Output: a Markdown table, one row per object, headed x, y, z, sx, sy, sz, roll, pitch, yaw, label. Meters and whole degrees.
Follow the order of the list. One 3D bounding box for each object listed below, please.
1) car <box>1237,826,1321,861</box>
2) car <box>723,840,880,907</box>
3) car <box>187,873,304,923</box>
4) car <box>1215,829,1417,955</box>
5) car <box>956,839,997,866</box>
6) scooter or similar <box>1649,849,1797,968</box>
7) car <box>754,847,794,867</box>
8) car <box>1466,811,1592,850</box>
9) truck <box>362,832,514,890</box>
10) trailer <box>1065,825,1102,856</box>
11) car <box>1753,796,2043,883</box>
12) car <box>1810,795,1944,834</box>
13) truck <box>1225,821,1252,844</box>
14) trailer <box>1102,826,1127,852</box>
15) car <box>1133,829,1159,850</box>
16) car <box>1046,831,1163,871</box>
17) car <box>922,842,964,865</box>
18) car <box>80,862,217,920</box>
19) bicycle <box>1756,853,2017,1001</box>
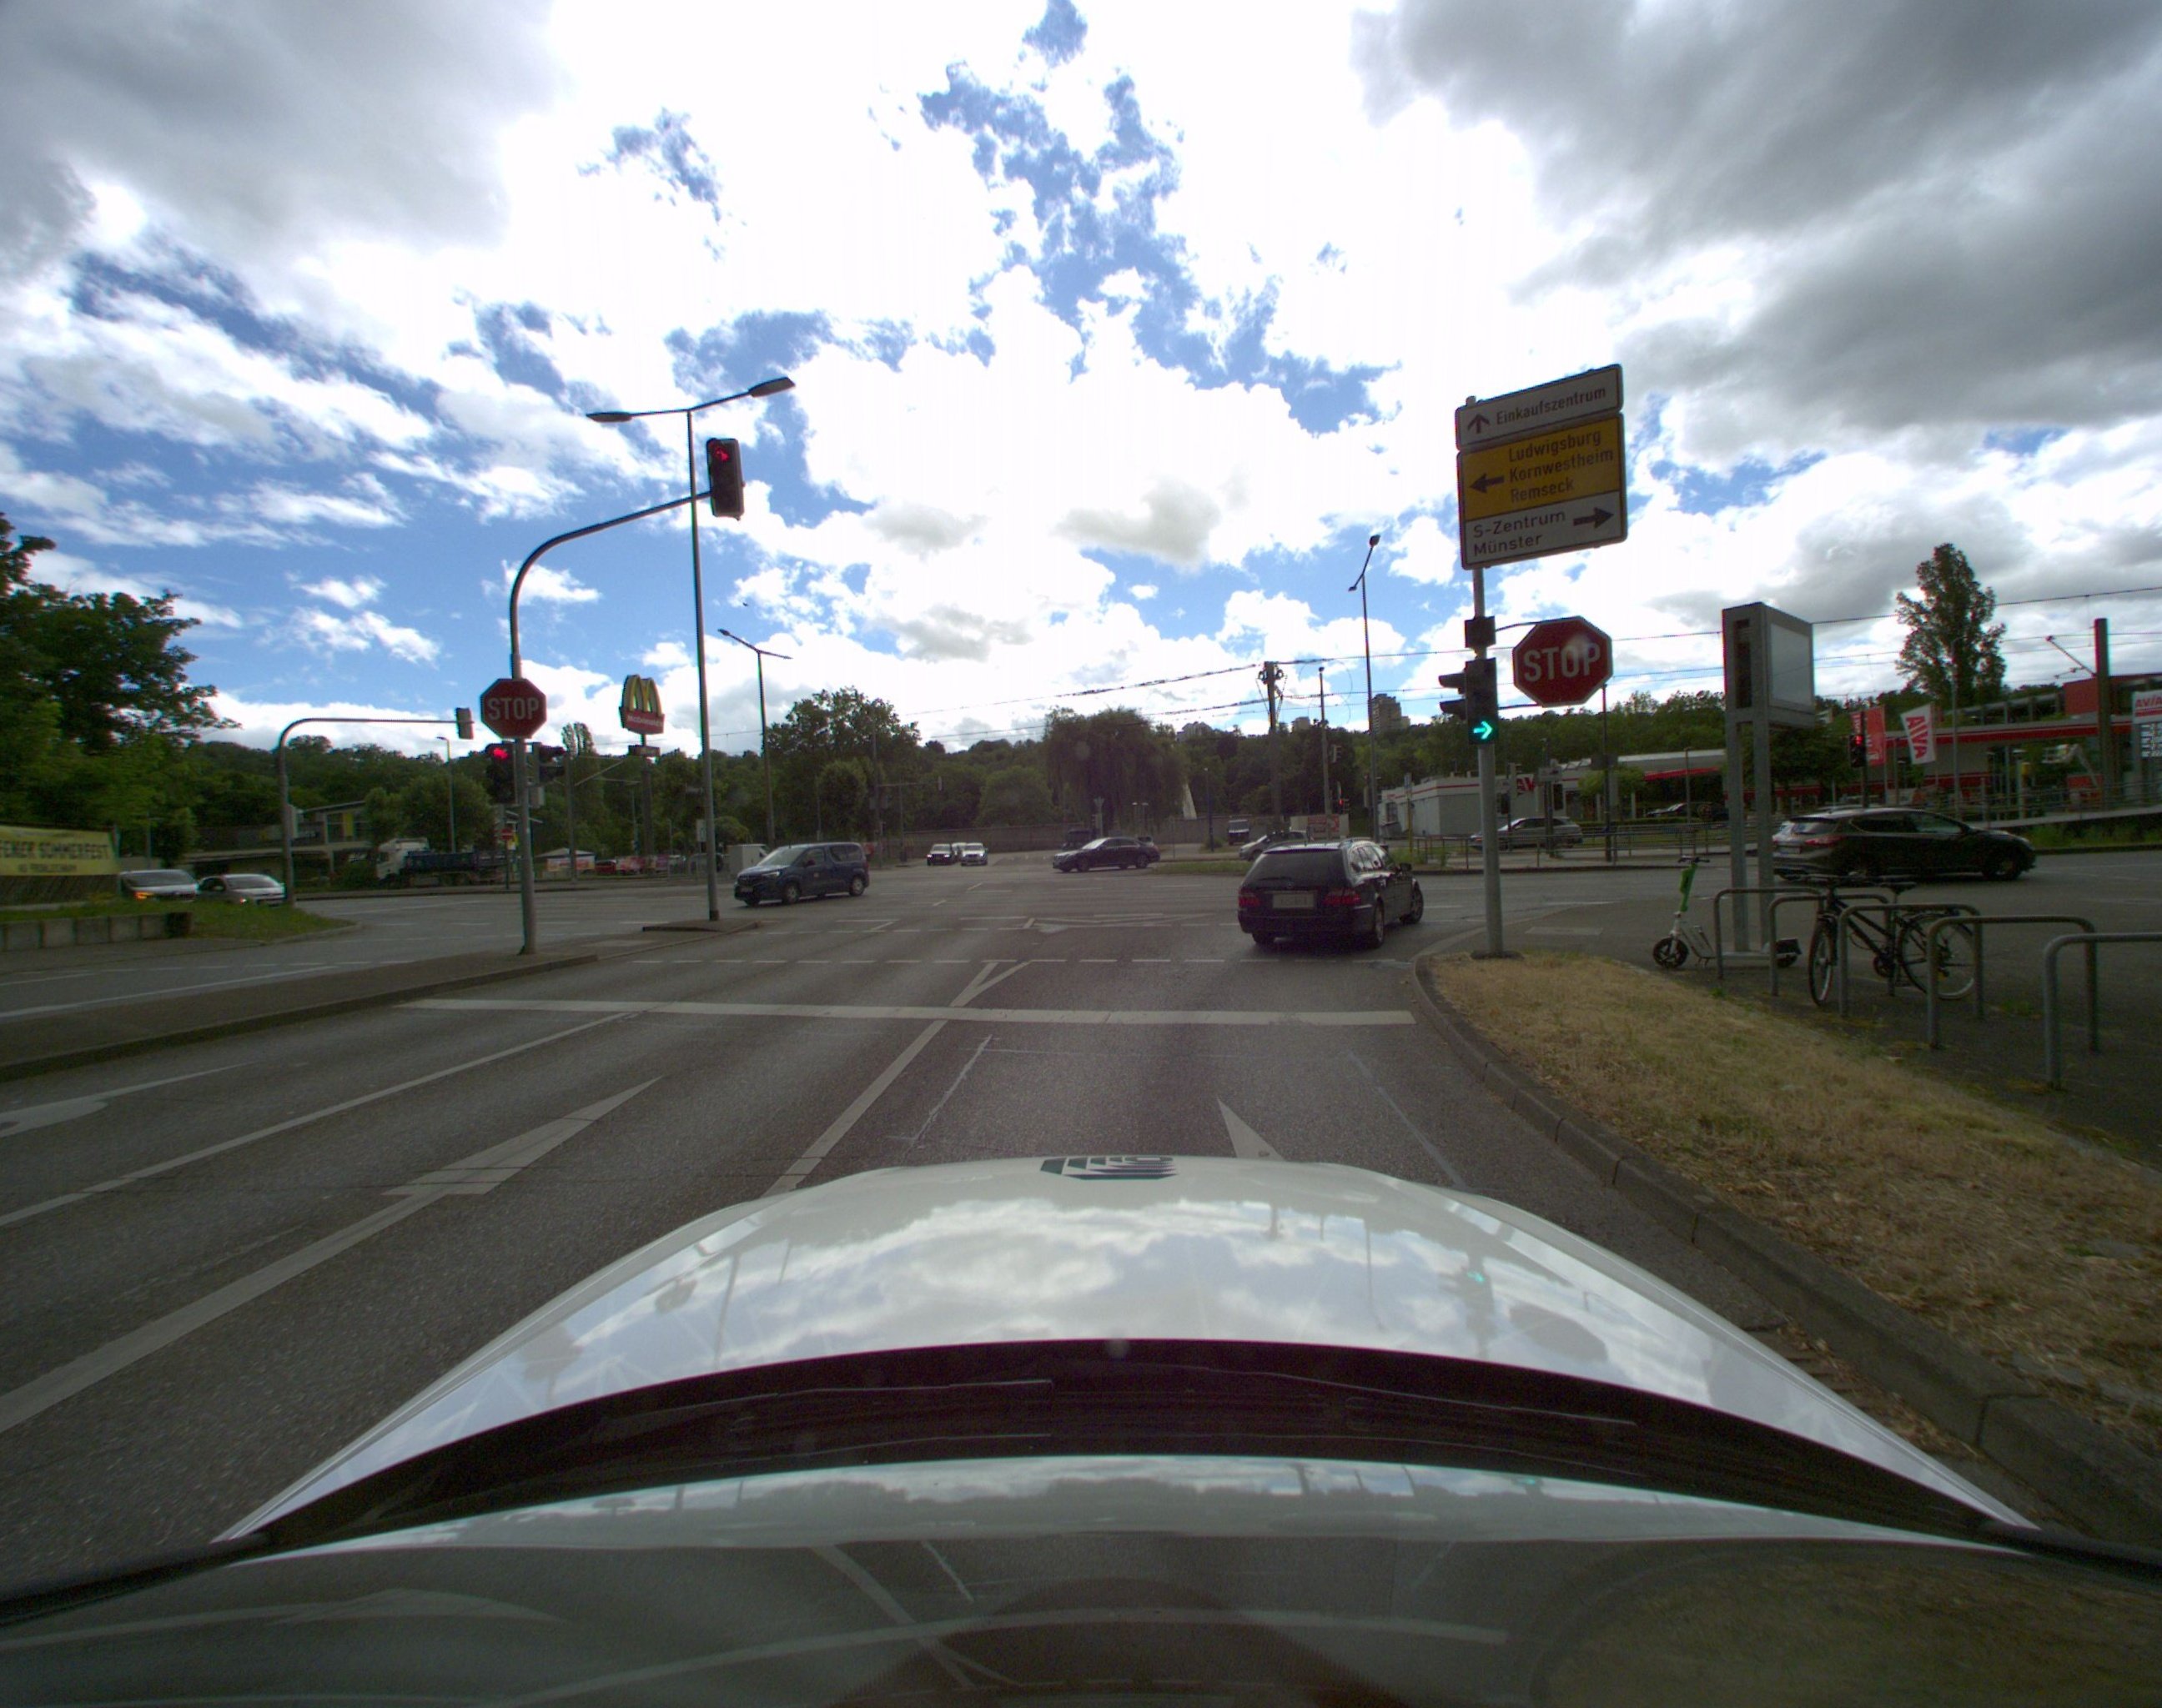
| x | y | z | sx | sy | sz | roll | pitch | yaw | label |
| --- | --- | --- | --- | --- | --- | --- | --- | --- | --- |
| 9.692 | -0.528 | 40.025 | 3.751 | 1.508 | 1.707 | -3 | 1 | 5 | car |
| -8.471 | 0.535 | 25.138 | 1.587 | 1.774 | 4.588 | -2 | 1 | 30 | car |
| -29.840 | 1.568 | 29.101 | 2.992 | 1.574 | 1.674 | -2 | 1 | 17 | car |
| 3.822 | 0.444 | 12.578 | 1.805 | 1.509 | 4.604 | -2 | 1 | 31 | car |
| -7.914 | -0.137 | 62.089 | 1.981 | 1.859 | 4.011 | -2 | 1 | 9 | car |
| 6.566 | 0.556 | 8.359 | 1.174 | 1.169 | 0.295 | -2 | 1 | 9 | scooter or similar |
| -35.656 | 0.346 | 94.730 | 3.994 | 2.013 | 1.990 | -3 | 0 | -15 | car |
| 21.289 | -1.124 | 38.886 | 4.888 | 1.600 | 2.023 | -2 | 1 | 13 | car |
| -46.560 | 0.529 | 59.073 | 9.044 | 3.587 | 3.228 | -3 | 0 | 9 | truck |
| 0.267 | -1.233 | 73.344 | 2.338 | 2.582 | 4.933 | -3 | 0 | 9 | trailer |
| 16.683 | -0.295 | 16.796 | 4.117 | 1.530 | 1.734 | -3 | 1 | 3 | car |
| 35.483 | -1.736 | 36.393 | 4.003 | 1.530 | 1.725 | -2 | 1 | 10 | car |
| 14.942 | -2.000 | 77.437 | 2.222 | 2.013 | 5.253 | -3 | 0 | 8 | truck |
| 3.129 | -1.347 | 75.404 | 1.984 | 2.184 | 4.006 | -3 | 0 | 5 | trailer |
| 5.952 | -1.313 | 74.370 | 1.981 | 1.749 | 4.011 | -2 | 1 | 9 | car |
| 1.102 | -0.165 | 37.149 | 5.080 | 1.523 | 1.728 | -3 | 1 | -28 | car |
| -10.951 | -0.055 | 64.754 | 1.981 | 1.639 | 4.011 | -2 | 1 | 9 | car |
| -36.362 | 1.447 | 31.764 | 4.471 | 2.013 | 2.011 | -2 | 1 | 21 | car |
| 6.675 | 0.592 | 6.788 | 1.683 | 1.110 | 0.479 | -2 | 2 | 1 | bicycle |
